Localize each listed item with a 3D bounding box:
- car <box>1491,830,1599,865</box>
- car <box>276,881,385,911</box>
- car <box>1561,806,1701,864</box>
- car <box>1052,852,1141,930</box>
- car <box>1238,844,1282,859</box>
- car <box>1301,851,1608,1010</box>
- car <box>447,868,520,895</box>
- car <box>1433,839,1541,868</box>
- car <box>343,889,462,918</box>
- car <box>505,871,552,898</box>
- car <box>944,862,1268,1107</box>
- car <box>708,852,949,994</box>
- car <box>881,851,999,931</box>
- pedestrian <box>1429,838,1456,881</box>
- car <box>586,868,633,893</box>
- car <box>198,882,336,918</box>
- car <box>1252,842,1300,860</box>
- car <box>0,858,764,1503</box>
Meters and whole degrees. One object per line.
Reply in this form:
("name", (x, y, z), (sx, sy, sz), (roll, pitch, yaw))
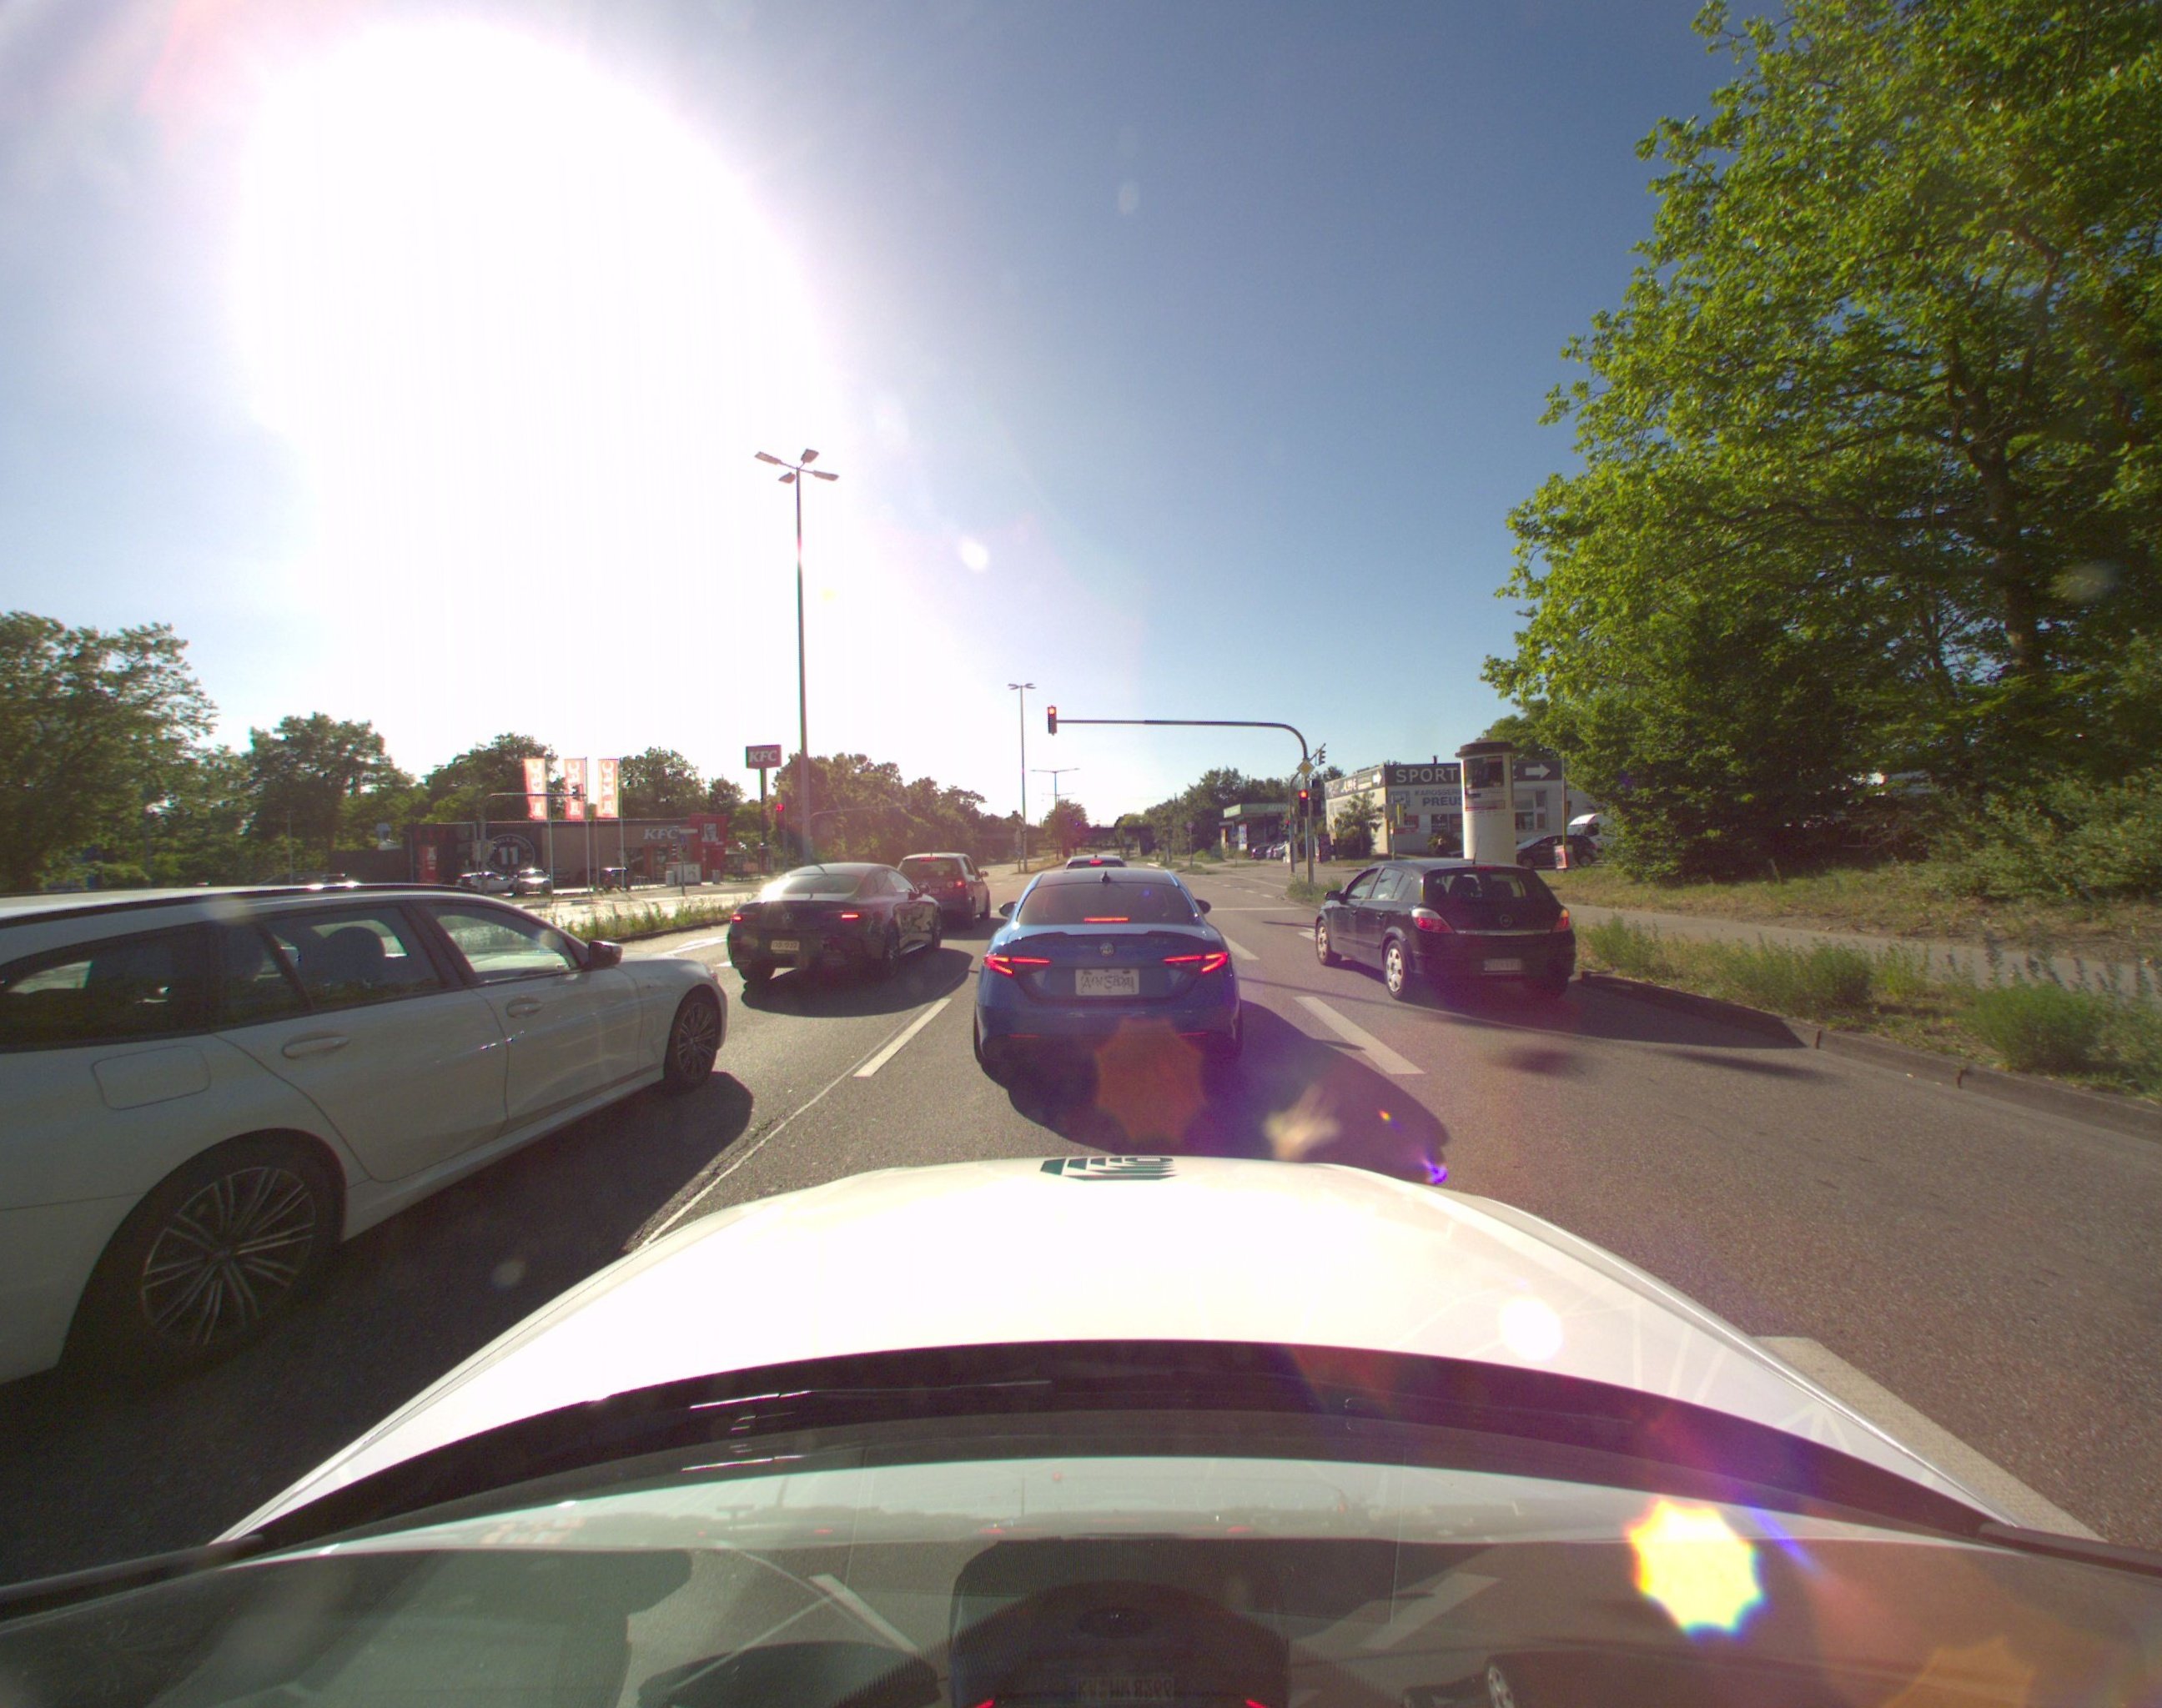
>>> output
("car", (22.356, -0.305, 39.353), (4.291, 1.650, 1.638), (0, -1, 1))
("car", (-39.024, 2.151, 42.383), (3.937, 1.453, 1.938), (0, -1, 3))
("car", (28.616, -0.959, 42.499), (5.812, 2.672, 2.001), (-3, -1, 2))
("car", (0.409, 0.726, 17.420), (1.696, 1.497, 3.722), (0, -1, 3))
("car", (18.297, -0.236, 83.357), (3.995, 1.552, 1.989), (0, -1, -16))
("car", (4.001, 0.703, 9.622), (1.727, 1.442, 4.373), (0, 0, 2))
("car", (-42.923, 1.942, 58.596), (1.974, 1.813, 3.796), (-1, -1, 36))
("car", (21.327, -0.041, 42.883), (4.803, 1.468, 1.758), (0, -1, 0))
("car", (-32.136, 2.323, 38.657), (4.070, 1.252, 1.871), (0, -1, 0))
("car", (-37.325, 2.034, 55.007), (1.946, 1.740, 4.046), (0, -1, -45))
("car", (0.255, 0.788, 6.666), (1.901, 1.423, 3.722), (0, -1, 3))
("car", (-3.160, 0.760, 11.275), (1.806, 1.551, 4.544), (-1, 0, 1))
("car", (-2.972, 0.744, 18.056), (1.806, 1.551, 4.353), (0, -1, 0))
("pedestrian", (14.236, 0.202, 32.088), (0.814, 1.669, 0.514), (0, -1, 1))
("car", (-33.857, 1.881, 58.476), (1.946, 1.740, 4.046), (0, -1, -45))
("car", (-39.049, 2.195, 39.144), (4.608, 1.579, 1.936), (0, -1, 0))
("car", (17.883, -0.280, 74.879), (3.971, 1.552, 2.001), (0, -1, 2))
("car", (-3.375, 0.796, 3.790), (1.805, 1.486, 4.599), (-1, 0, 2))
